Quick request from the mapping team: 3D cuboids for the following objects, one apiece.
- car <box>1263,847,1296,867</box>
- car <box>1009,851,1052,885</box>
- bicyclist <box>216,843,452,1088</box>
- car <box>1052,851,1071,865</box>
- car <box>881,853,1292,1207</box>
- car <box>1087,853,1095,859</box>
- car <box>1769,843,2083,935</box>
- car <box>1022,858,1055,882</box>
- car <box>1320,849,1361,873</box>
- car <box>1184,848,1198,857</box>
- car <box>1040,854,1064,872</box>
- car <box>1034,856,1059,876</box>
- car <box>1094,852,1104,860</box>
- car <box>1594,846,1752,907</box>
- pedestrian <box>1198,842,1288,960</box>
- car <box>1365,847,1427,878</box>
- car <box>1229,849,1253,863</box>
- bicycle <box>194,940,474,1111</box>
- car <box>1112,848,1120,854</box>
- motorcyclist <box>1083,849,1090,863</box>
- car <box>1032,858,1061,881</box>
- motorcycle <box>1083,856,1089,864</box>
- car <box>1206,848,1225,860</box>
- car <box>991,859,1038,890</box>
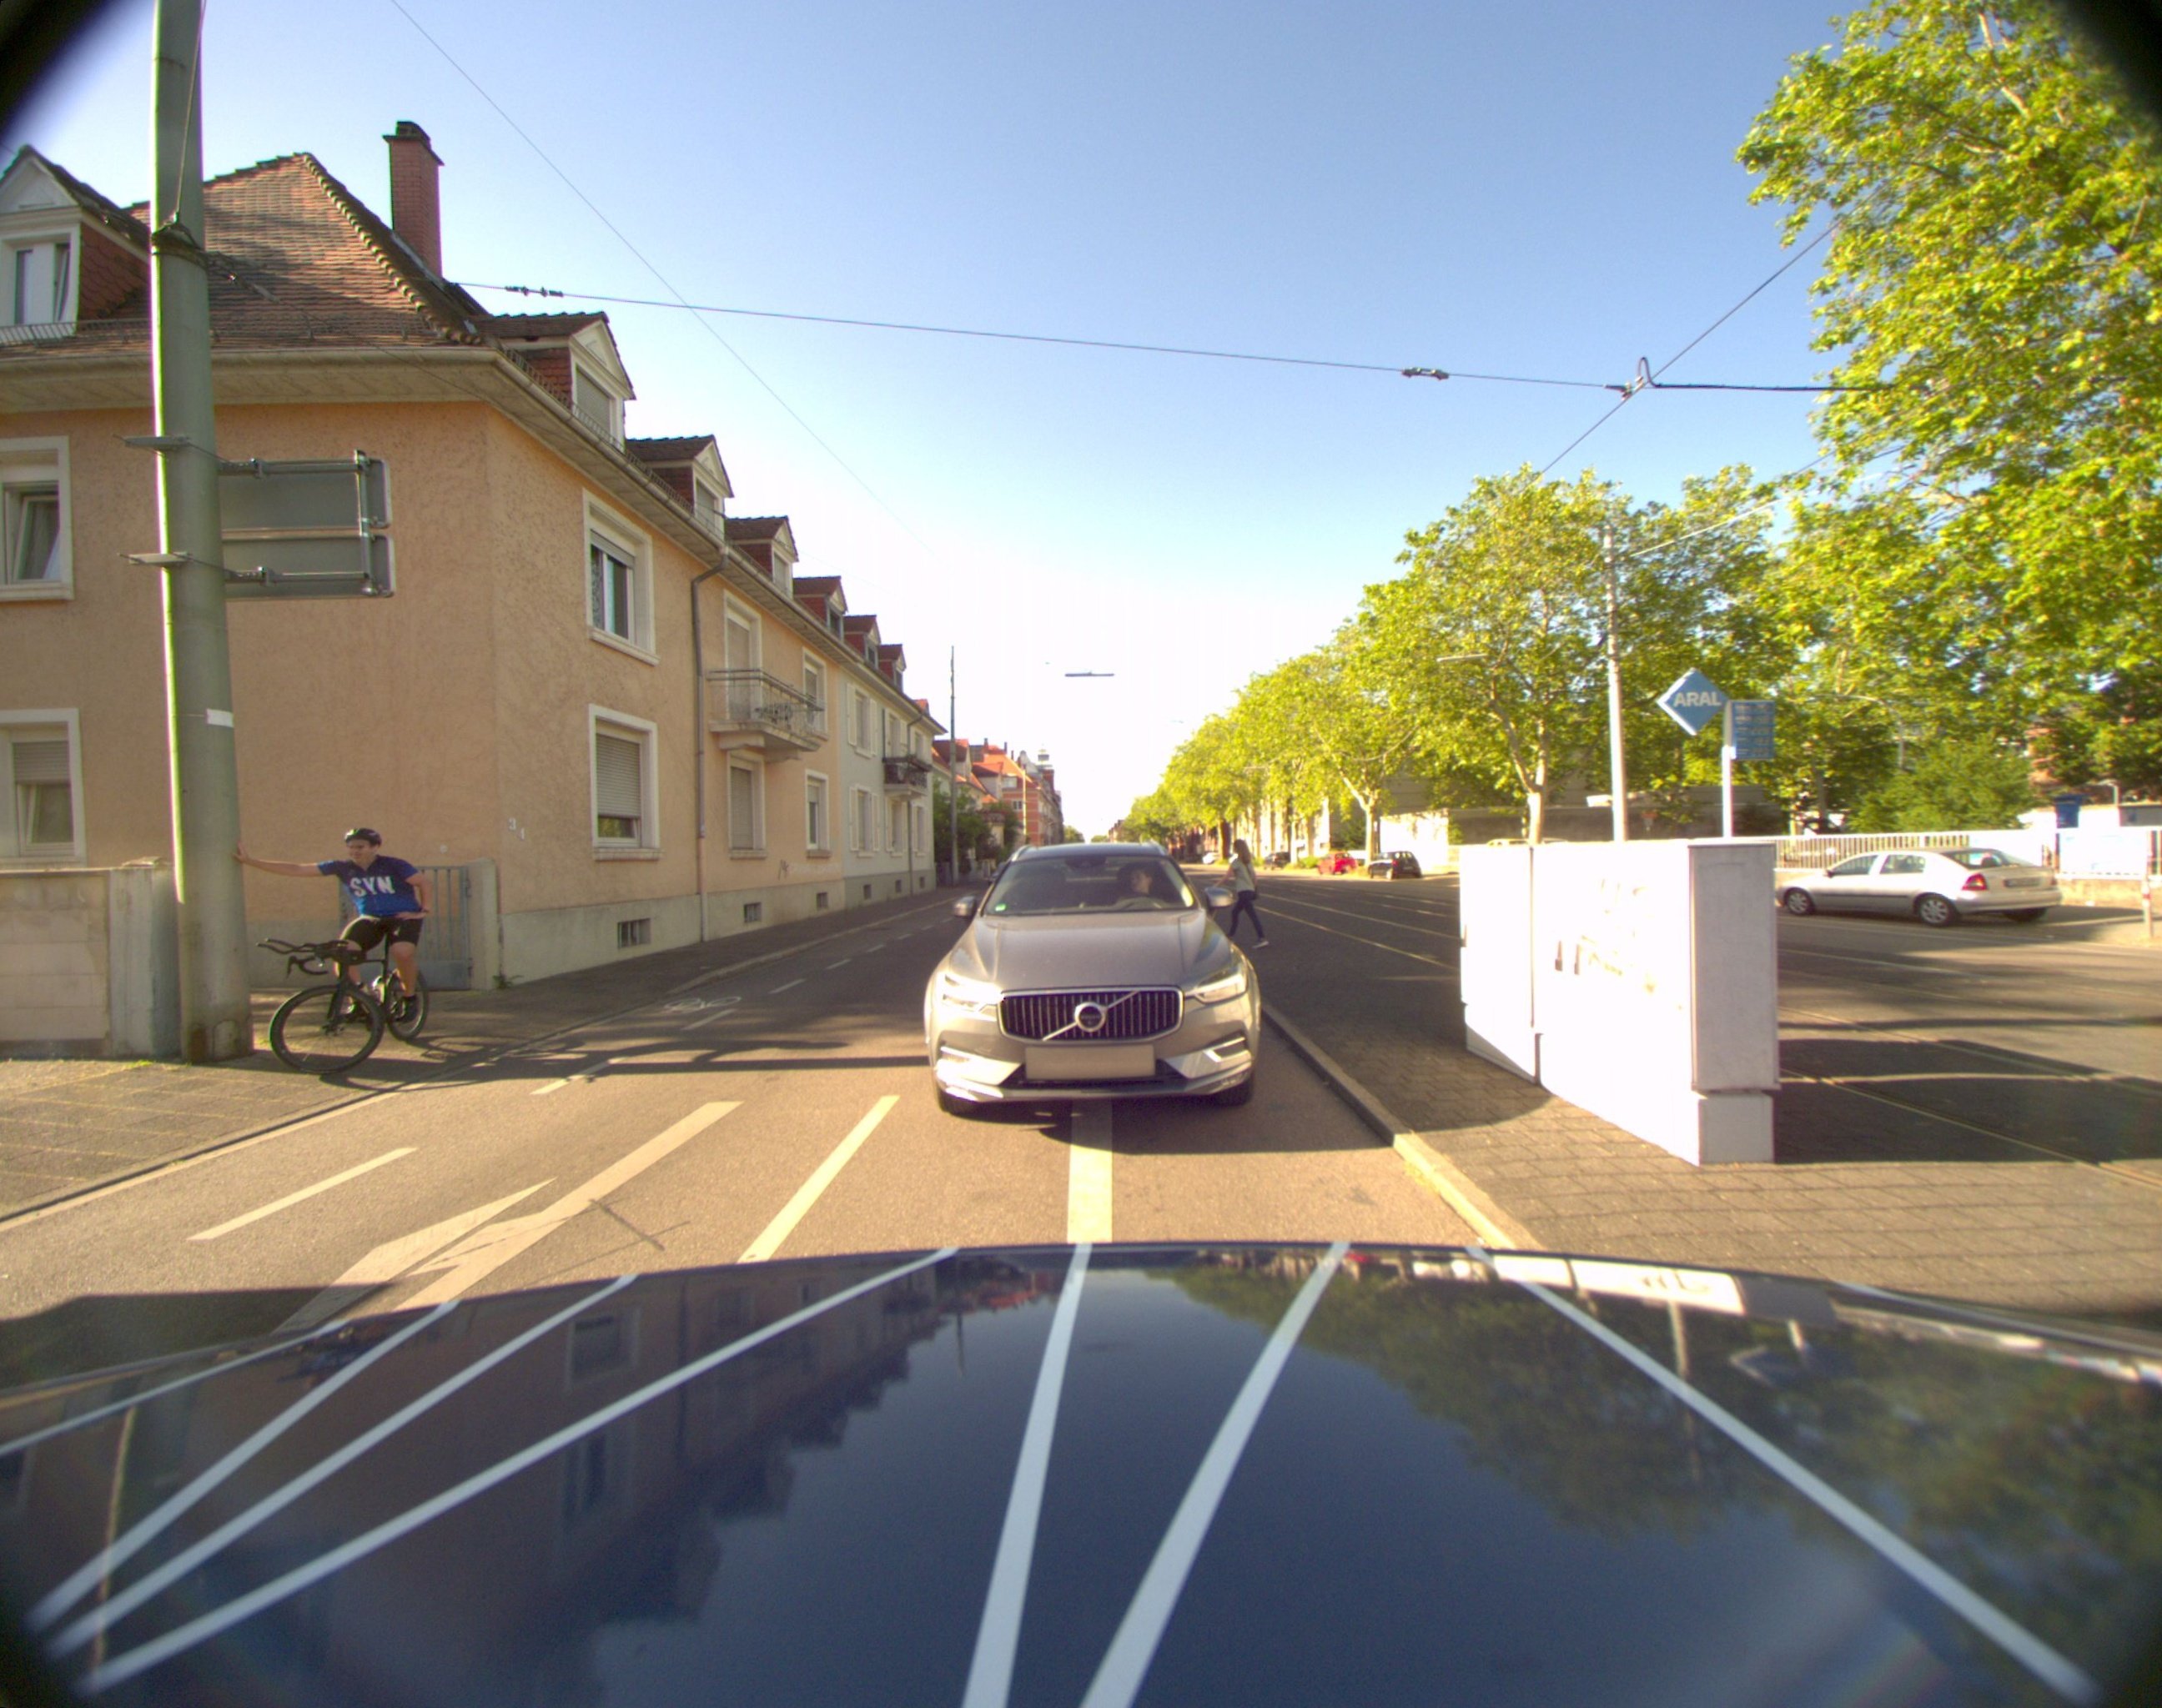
[{"bbox_3d":[17.219,0.283,66.048,1.802,1.652,4.000,-1,0,1],"label":"car"},{"bbox_3d":[-2.767,0.713,42.894,1.751,1.767,5.351,-1,0,3],"label":"car"},{"bbox_3d":[-6.131,0.861,6.300,1.076,1.854,0.846,2,1,1],"label":"bicyclist"},{"bbox_3d":[-2.177,0.446,85.500,1.875,1.477,4.000,-1,0,1],"label":"car"},{"bbox_3d":[0.058,0.850,5.810,1.940,1.650,4.321,-1,0,1],"label":"car"},{"bbox_3d":[2.539,0.563,192.946,1.998,1.543,4.000,-1,0,1],"label":"car"},{"bbox_3d":[16.263,0.595,14.998,1.795,1.455,3.966,-4,0,2],"label":"car"},{"bbox_3d":[-2.661,0.989,48.313,1.785,1.346,4.000,-1,0,1],"label":"car"},{"bbox_3d":[16.965,0.432,49.756,1.641,1.499,3.046,-1,0,1],"label":"car"},{"bbox_3d":[18.227,-0.225,125.635,1.802,1.504,4.000,-1,0,1],"label":"car"},{"bbox_3d":[-2.537,0.764,66.838,1.875,1.477,4.000,-1,0,1],"label":"car"},{"bbox_3d":[-2.728,0.942,60.685,1.785,1.468,4.000,-1,0,1],"label":"car"},{"bbox_3d":[3.644,0.322,153.345,1.998,1.543,4.000,-1,0,1],"label":"car"},{"bbox_3d":[16.449,0.574,21.346,1.692,1.455,3.519,-4,0,2],"label":"car"},{"bbox_3d":[2.422,0.671,11.423,0.696,1.652,1.096,-3,1,-35],"label":"pedestrian"},{"bbox_3d":[16.903,0.420,40.987,1.826,1.521,3.653,-2,0,1],"label":"car"},{"bbox_3d":[17.572,0.218,83.433,1.802,1.489,4.000,-1,0,1],"label":"car"},{"bbox_3d":[-5.926,1.301,6.185,0.572,0.986,1.698,2,0,1],"label":"bicycle"},{"bbox_3d":[9.842,-0.837,212.084,1.998,1.652,4.000,-1,0,1],"label":"car"},{"bbox_3d":[0.728,0.303,101.337,0.827,1.832,1.159,-2,1,1],"label":"motorcyclist"},{"bbox_3d":[-2.444,1.082,54.449,1.785,1.468,4.000,-1,0,1],"label":"car"},{"bbox_3d":[0.733,0.784,101.317,0.792,1.095,2.519,0,0,1],"label":"motorcycle"},{"bbox_3d":[17.762,-0.015,100.678,1.802,1.504,4.000,-1,0,1],"label":"car"},{"bbox_3d":[-3.190,0.962,37.035,1.647,1.357,3.868,-1,0,4],"label":"car"}]
